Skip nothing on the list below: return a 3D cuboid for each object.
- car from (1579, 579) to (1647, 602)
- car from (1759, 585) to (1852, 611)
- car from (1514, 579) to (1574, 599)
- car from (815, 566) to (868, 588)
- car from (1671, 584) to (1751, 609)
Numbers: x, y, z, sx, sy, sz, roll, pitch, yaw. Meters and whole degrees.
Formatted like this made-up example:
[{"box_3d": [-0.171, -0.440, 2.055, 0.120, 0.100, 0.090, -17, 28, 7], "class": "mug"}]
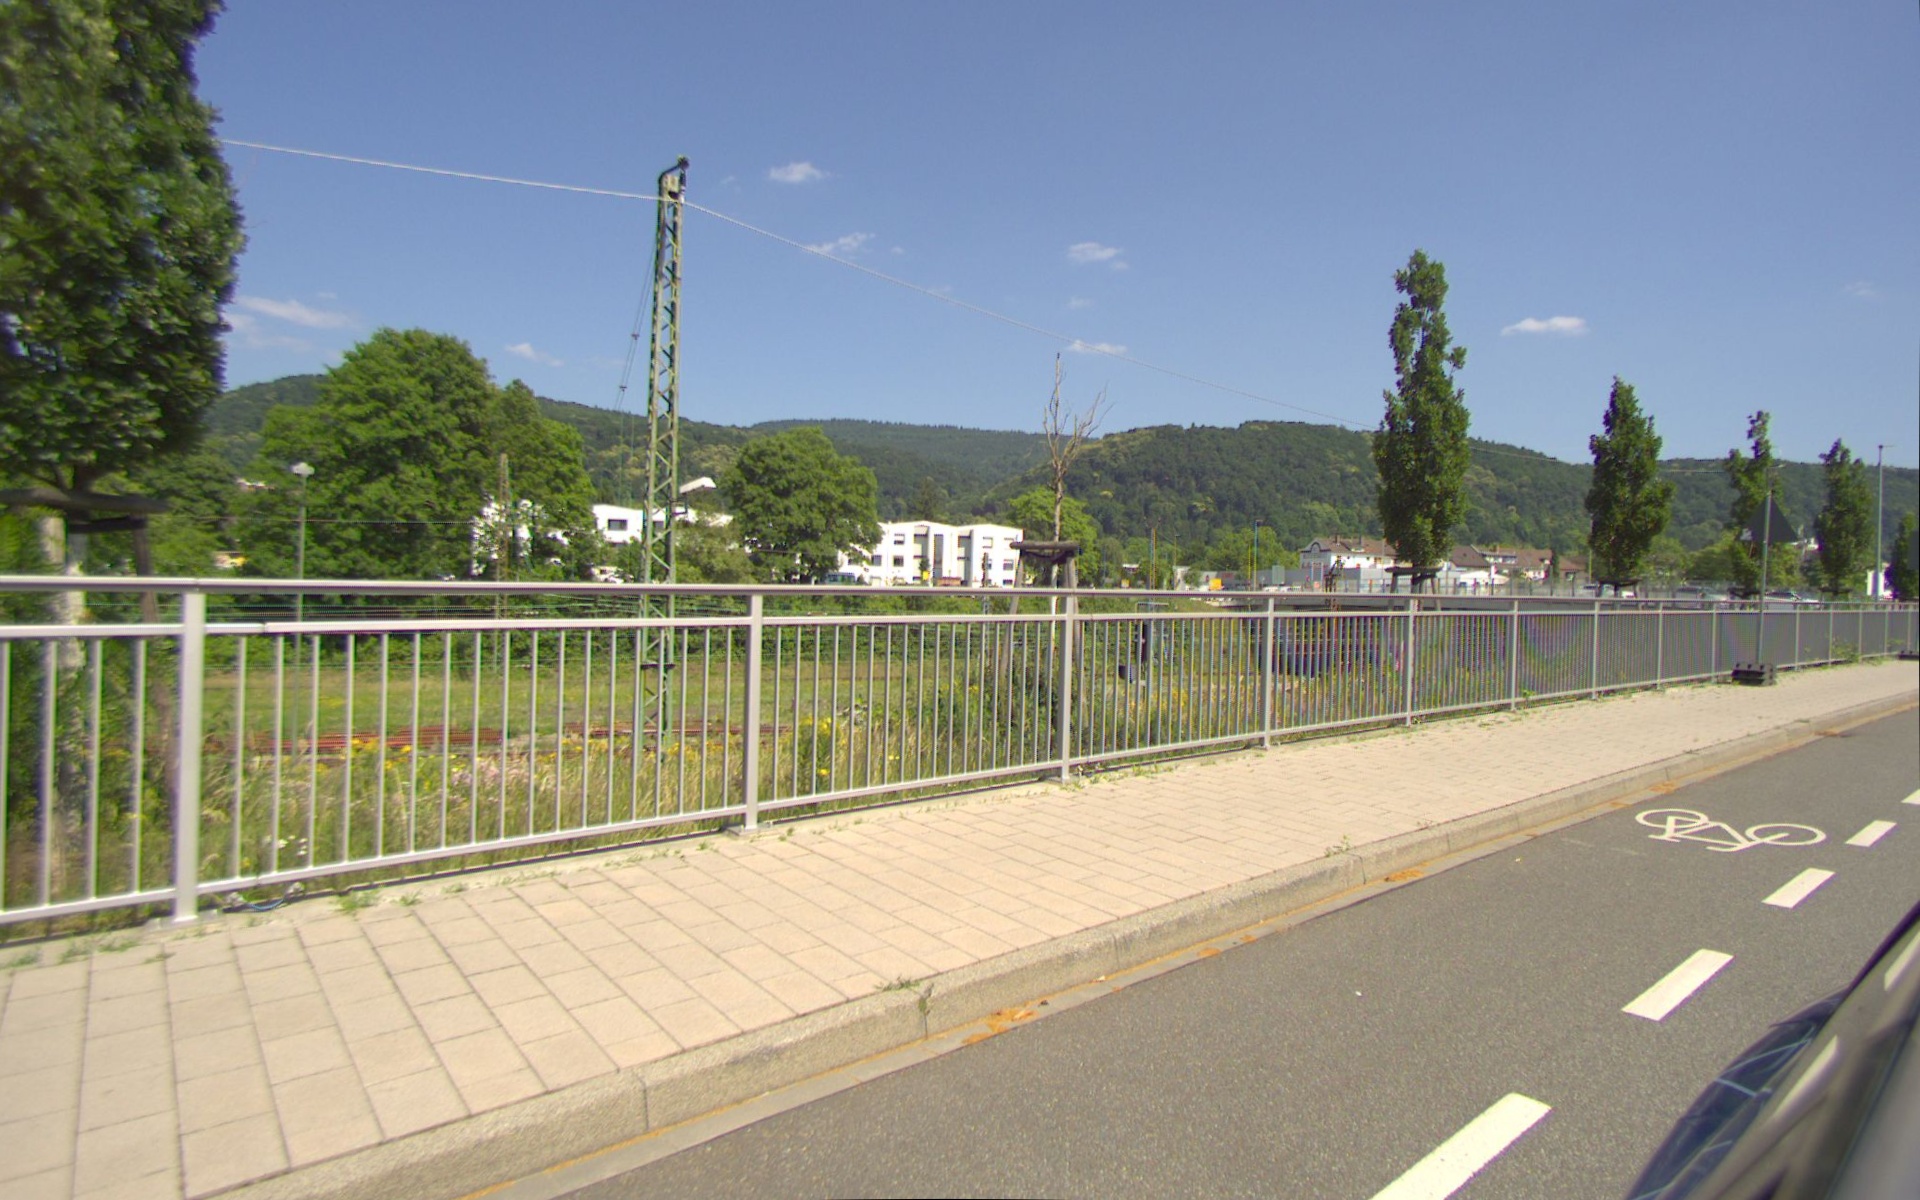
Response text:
[{"box_3d": [51.899, -0.772, 80.543, 1.700, 1.646, 4.453, 2, 2, -17], "class": "car"}, {"box_3d": [55.291, -0.125, 66.294, 1.700, 1.487, 4.421, 2, 2, -17], "class": "car"}, {"box_3d": [50.141, -0.940, 86.937, 1.700, 1.647, 4.452, 1, 1, -19], "class": "car"}, {"box_3d": [-12.048, -2.317, 103.080, 4.892, 2.139, 2.002, 1, 1, -32], "class": "car"}, {"box_3d": [54.066, -0.284, 72.974, 1.700, 1.646, 4.453, 2, 2, -17], "class": "car"}]
